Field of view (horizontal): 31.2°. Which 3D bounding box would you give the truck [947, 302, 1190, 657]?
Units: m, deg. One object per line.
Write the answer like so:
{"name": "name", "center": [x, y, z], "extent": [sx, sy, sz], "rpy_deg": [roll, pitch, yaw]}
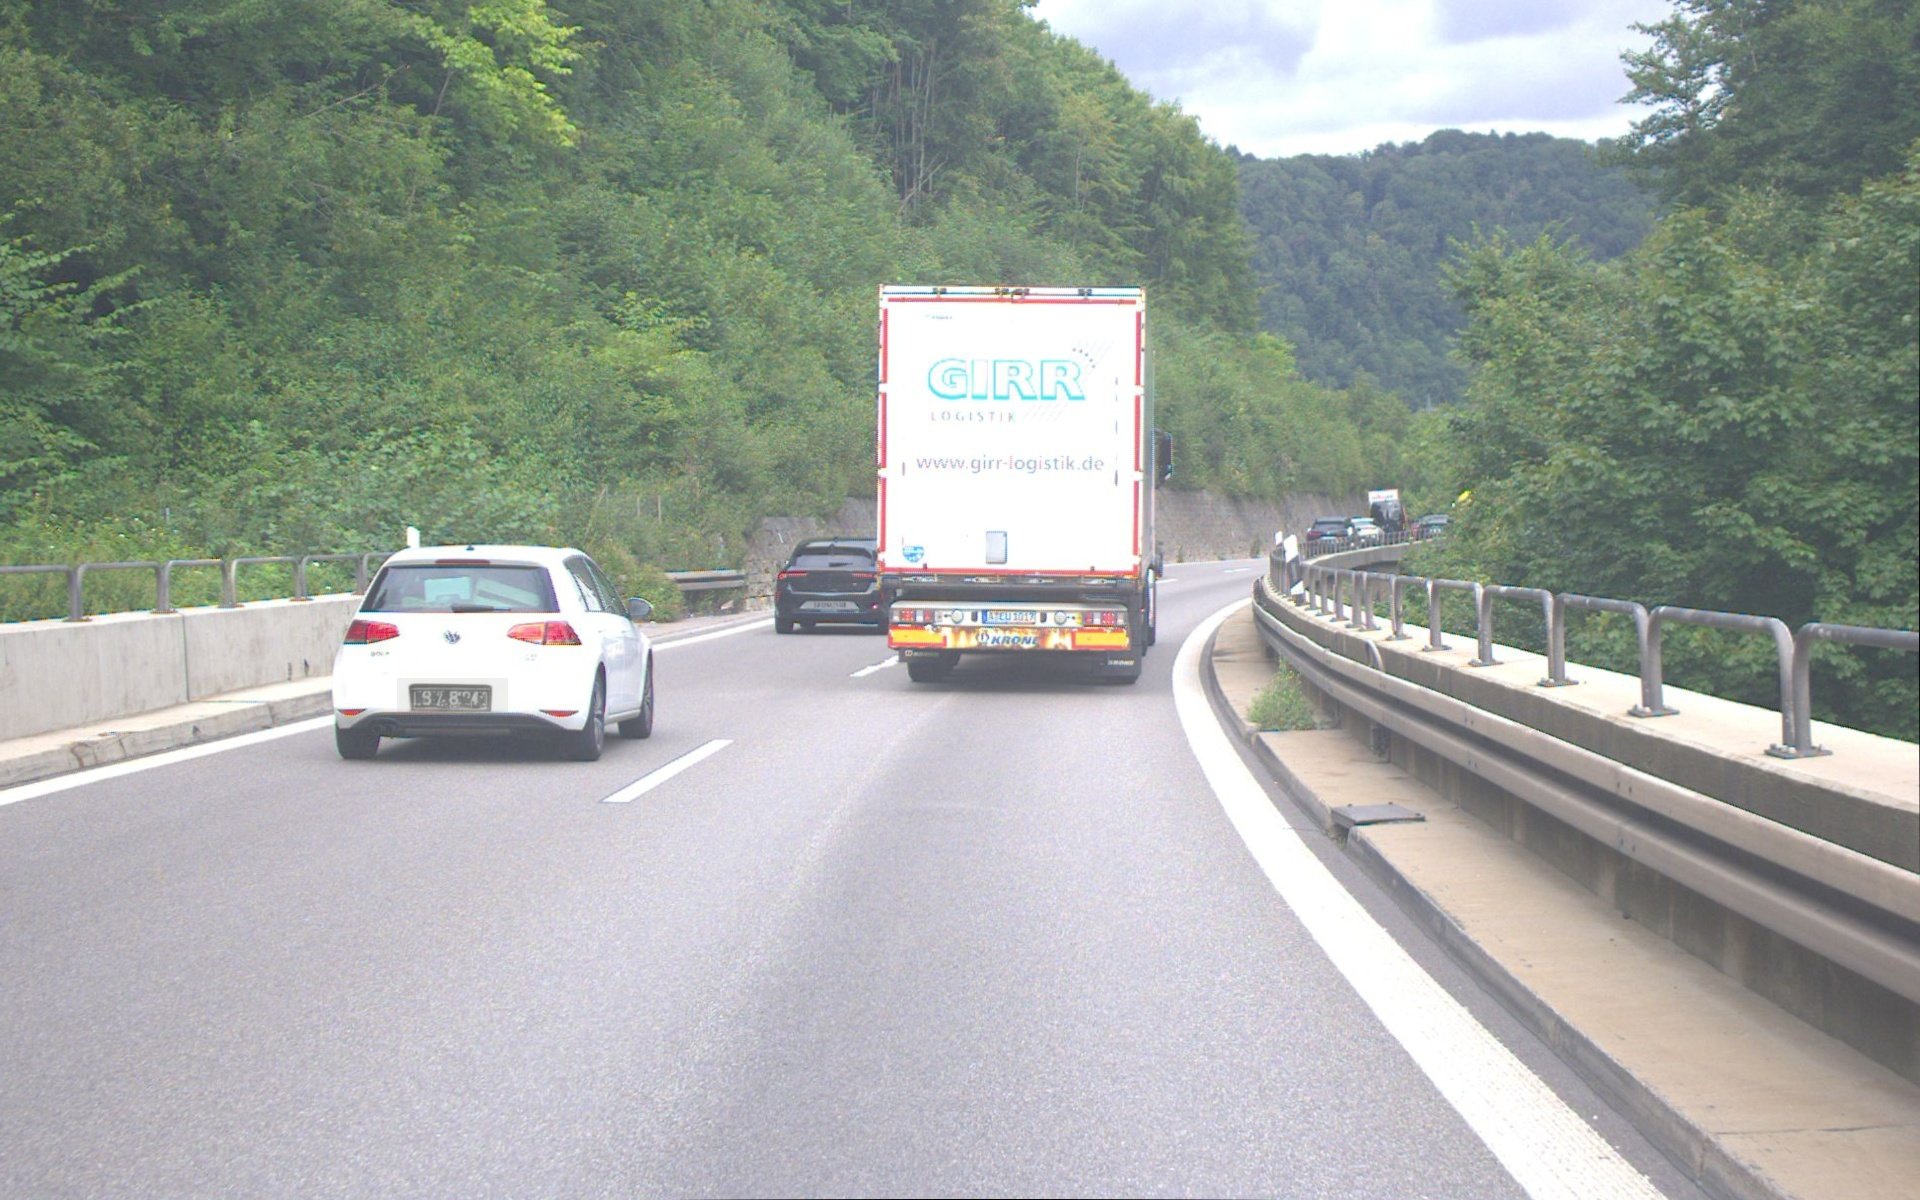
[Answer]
{"name": "truck", "center": [1.540, -1.495, 45.264], "extent": [2.814, 4.288, 6.258], "rpy_deg": [-1, 0, 5]}

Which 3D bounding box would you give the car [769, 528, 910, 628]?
{"name": "car", "center": [-1.794, -0.344, 52.523], "extent": [1.773, 1.456, 4.581], "rpy_deg": [0, 0, 3]}

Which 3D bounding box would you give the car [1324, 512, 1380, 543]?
{"name": "car", "center": [19.201, -3.527, 168.266], "extent": [1.995, 1.481, 3.997], "rpy_deg": [1, 1, 17]}

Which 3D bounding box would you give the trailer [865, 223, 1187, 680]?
{"name": "trailer", "center": [1.025, -1.444, 38.815], "extent": [2.814, 4.288, 12.243], "rpy_deg": [-1, 0, 5]}

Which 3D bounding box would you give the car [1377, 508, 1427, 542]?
{"name": "car", "center": [23.837, -4.047, 185.359], "extent": [1.995, 1.777, 3.997], "rpy_deg": [1, 1, 17]}

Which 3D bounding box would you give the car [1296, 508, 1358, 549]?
{"name": "car", "center": [14.990, -2.918, 140.370], "extent": [1.995, 1.560, 3.997], "rpy_deg": [-1, 0, 14]}

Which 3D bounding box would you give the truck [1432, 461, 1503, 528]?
{"name": "truck", "center": [31.095, -6.413, 210.347], "extent": [2.510, 3.845, 8.127], "rpy_deg": [-1, 0, 21]}

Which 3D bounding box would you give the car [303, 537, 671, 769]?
{"name": "car", "center": [-3.228, 0.295, 24.360], "extent": [1.845, 1.476, 4.628], "rpy_deg": [0, 1, 2]}

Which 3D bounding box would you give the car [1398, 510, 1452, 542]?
{"name": "car", "center": [22.569, -3.576, 166.816], "extent": [1.995, 1.481, 3.997], "rpy_deg": [1, 1, 17]}
